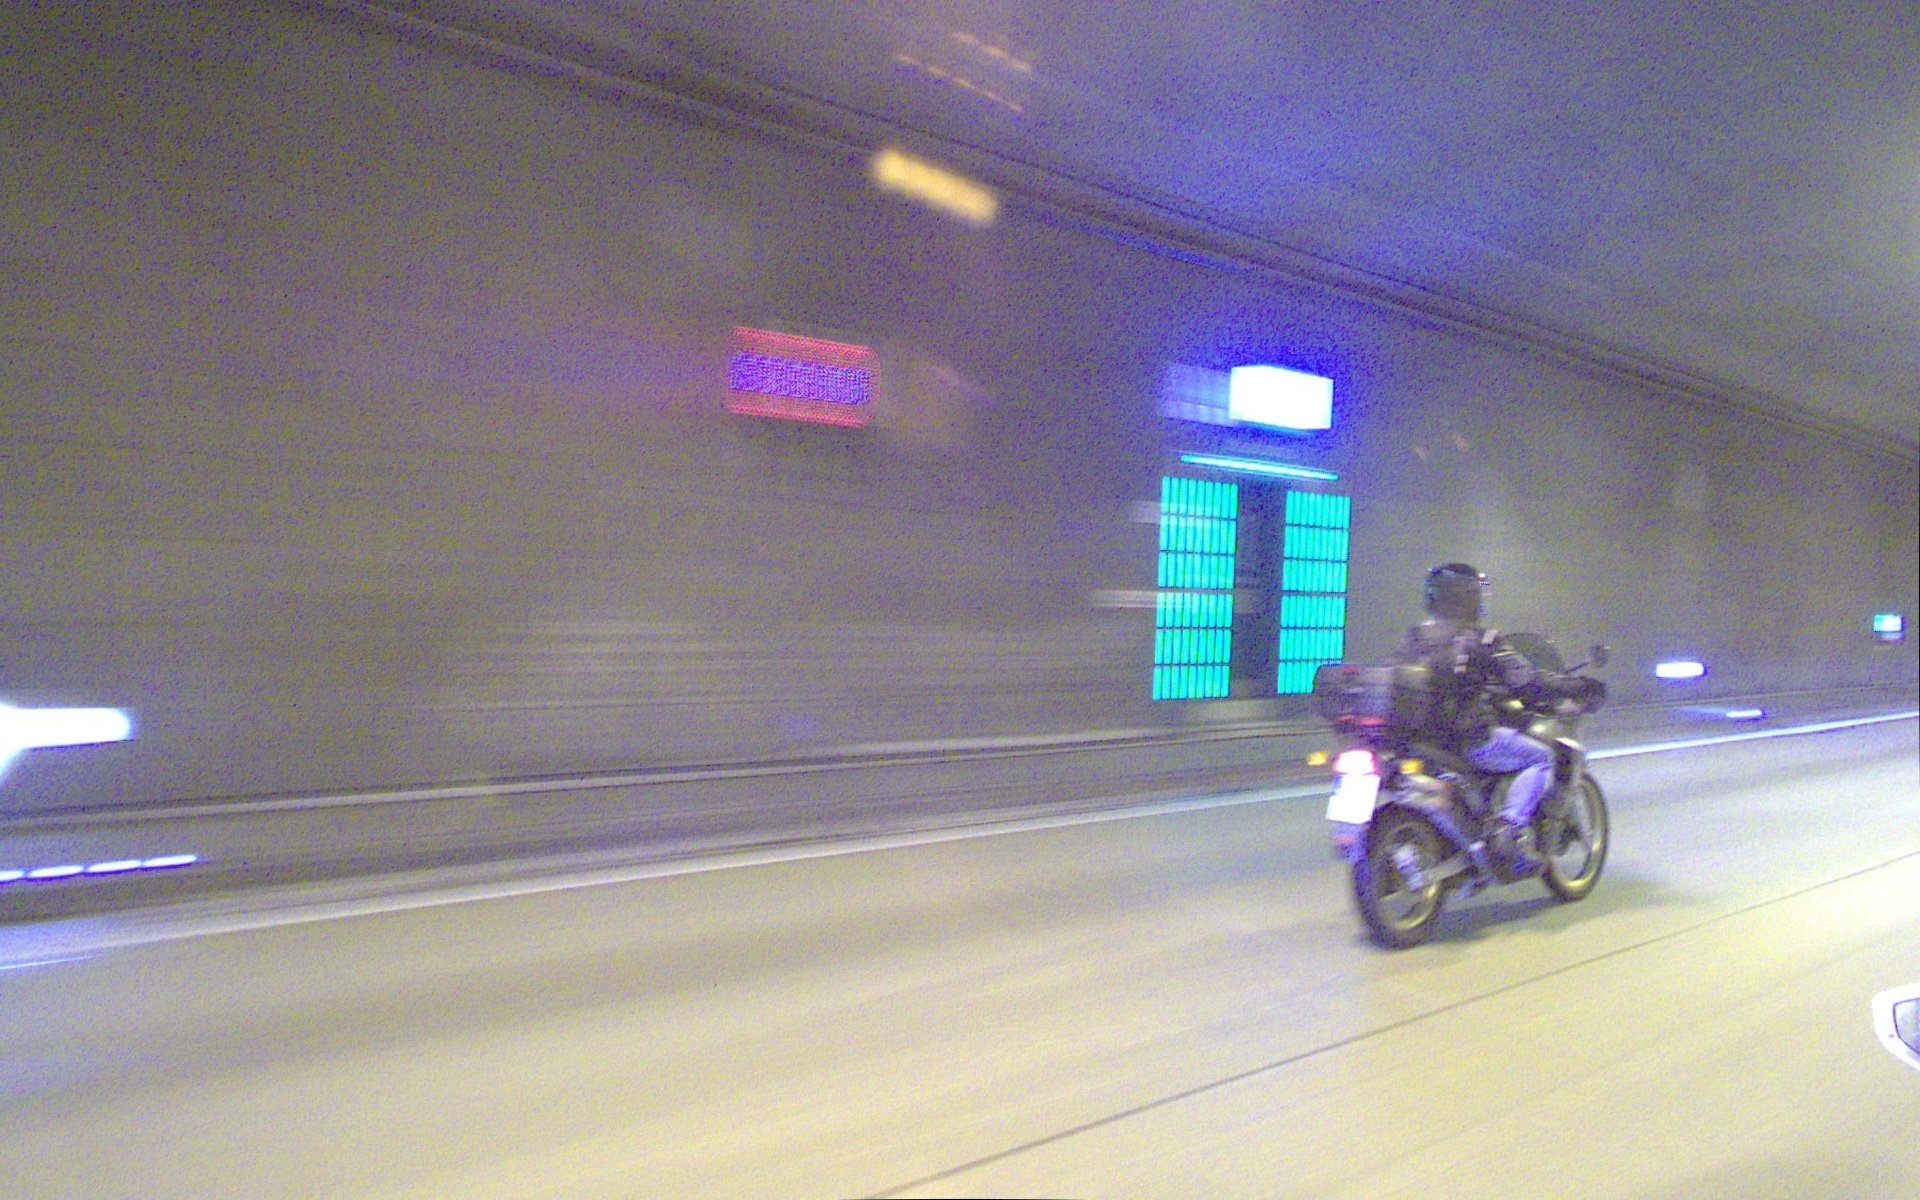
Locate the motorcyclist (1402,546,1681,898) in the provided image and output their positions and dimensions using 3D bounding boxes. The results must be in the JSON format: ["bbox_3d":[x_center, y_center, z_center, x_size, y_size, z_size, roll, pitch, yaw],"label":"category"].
[{"bbox_3d":[2.769,0.523,4.824,0.811,1.497,0.836,1,0,-27],"label":"motorcyclist"}]

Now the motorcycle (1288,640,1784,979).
[{"bbox_3d":[2.840,0.852,4.844,2.572,1.262,0.842,2,0,-29],"label":"motorcycle"}]
